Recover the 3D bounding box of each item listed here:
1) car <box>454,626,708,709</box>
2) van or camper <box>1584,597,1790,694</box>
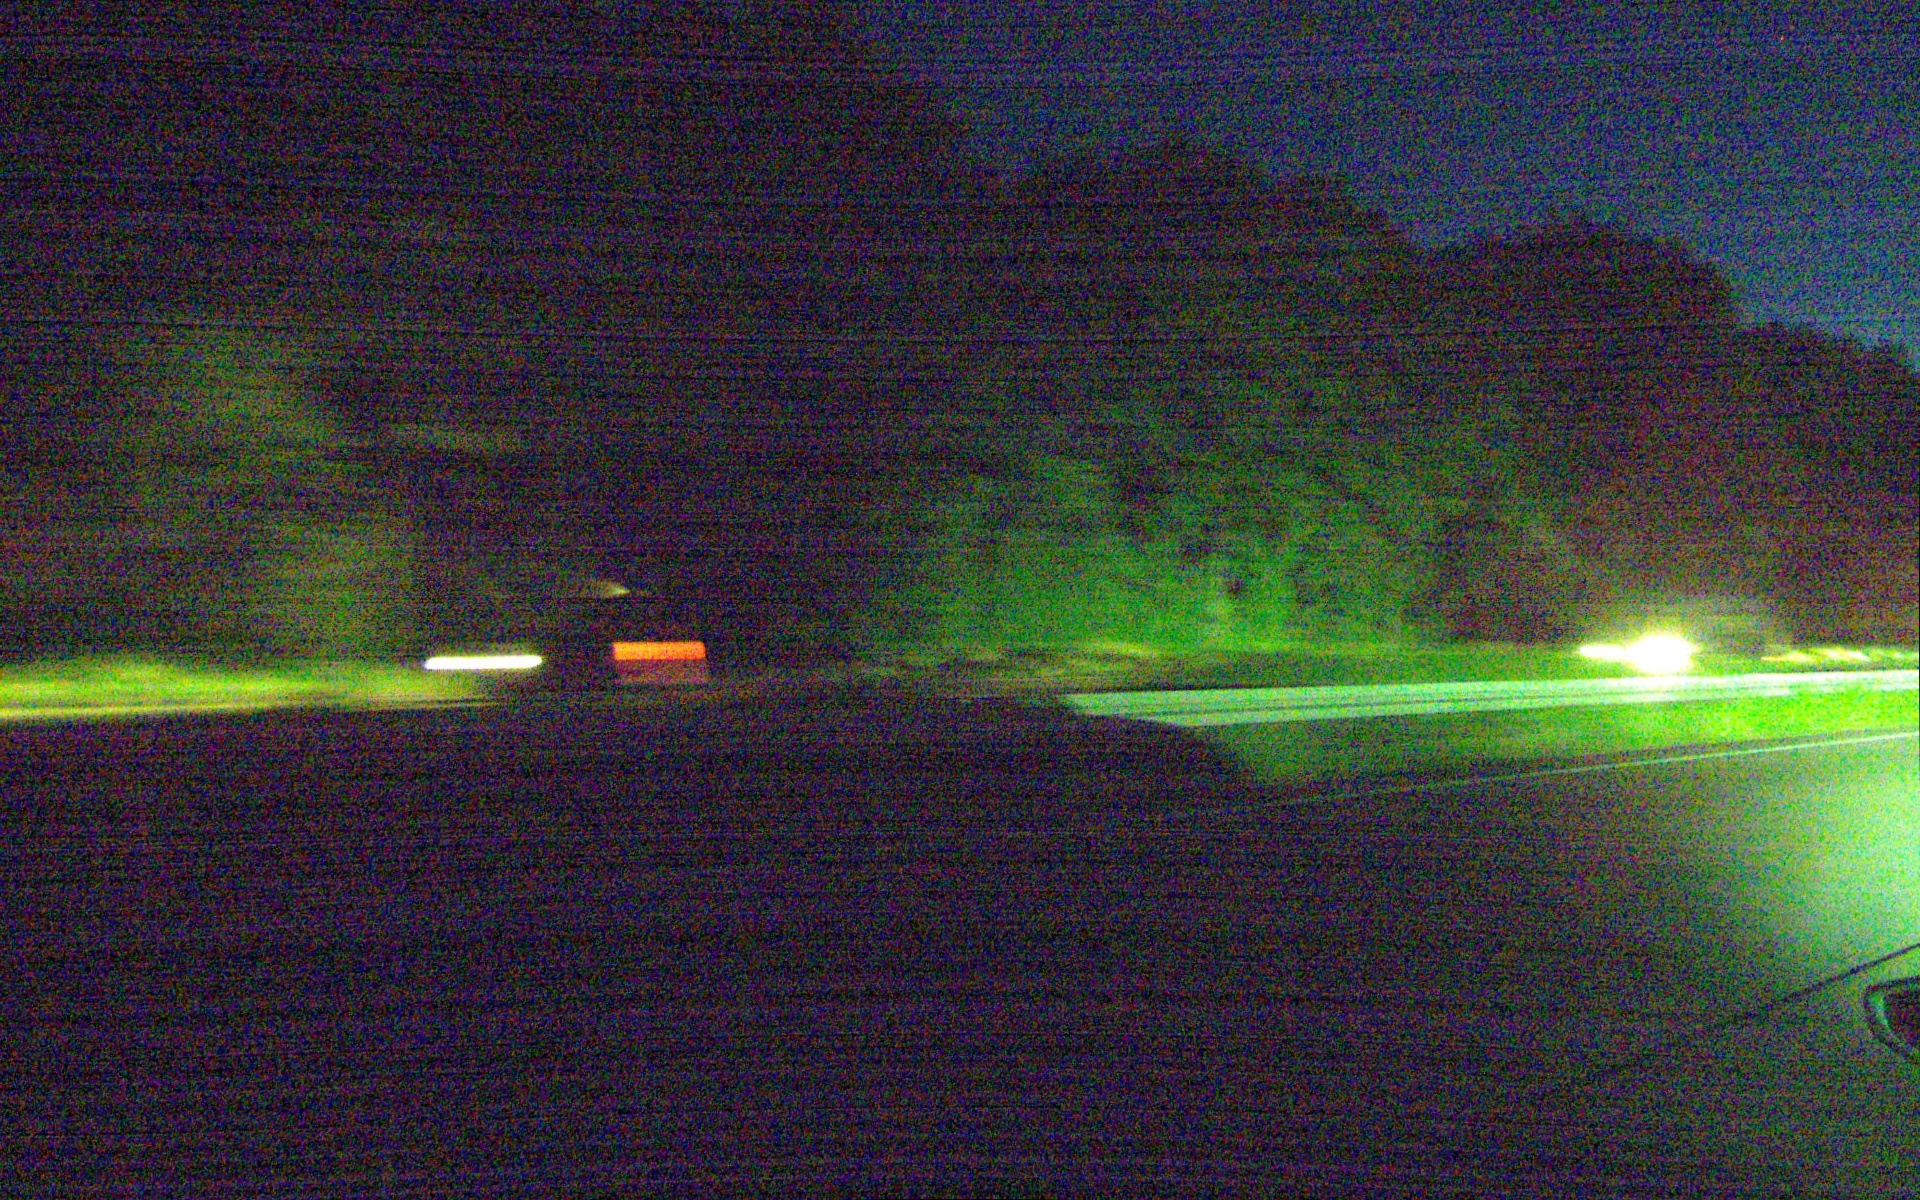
[{"bbox_3d":[-7.281,1.263,19.493,4.414,1.461,1.816,1,-3,-25],"label":"car"},{"bbox_3d":[22.115,1.360,30.422,7.577,2.652,2.283,2,-2,-31],"label":"van or camper"}]
